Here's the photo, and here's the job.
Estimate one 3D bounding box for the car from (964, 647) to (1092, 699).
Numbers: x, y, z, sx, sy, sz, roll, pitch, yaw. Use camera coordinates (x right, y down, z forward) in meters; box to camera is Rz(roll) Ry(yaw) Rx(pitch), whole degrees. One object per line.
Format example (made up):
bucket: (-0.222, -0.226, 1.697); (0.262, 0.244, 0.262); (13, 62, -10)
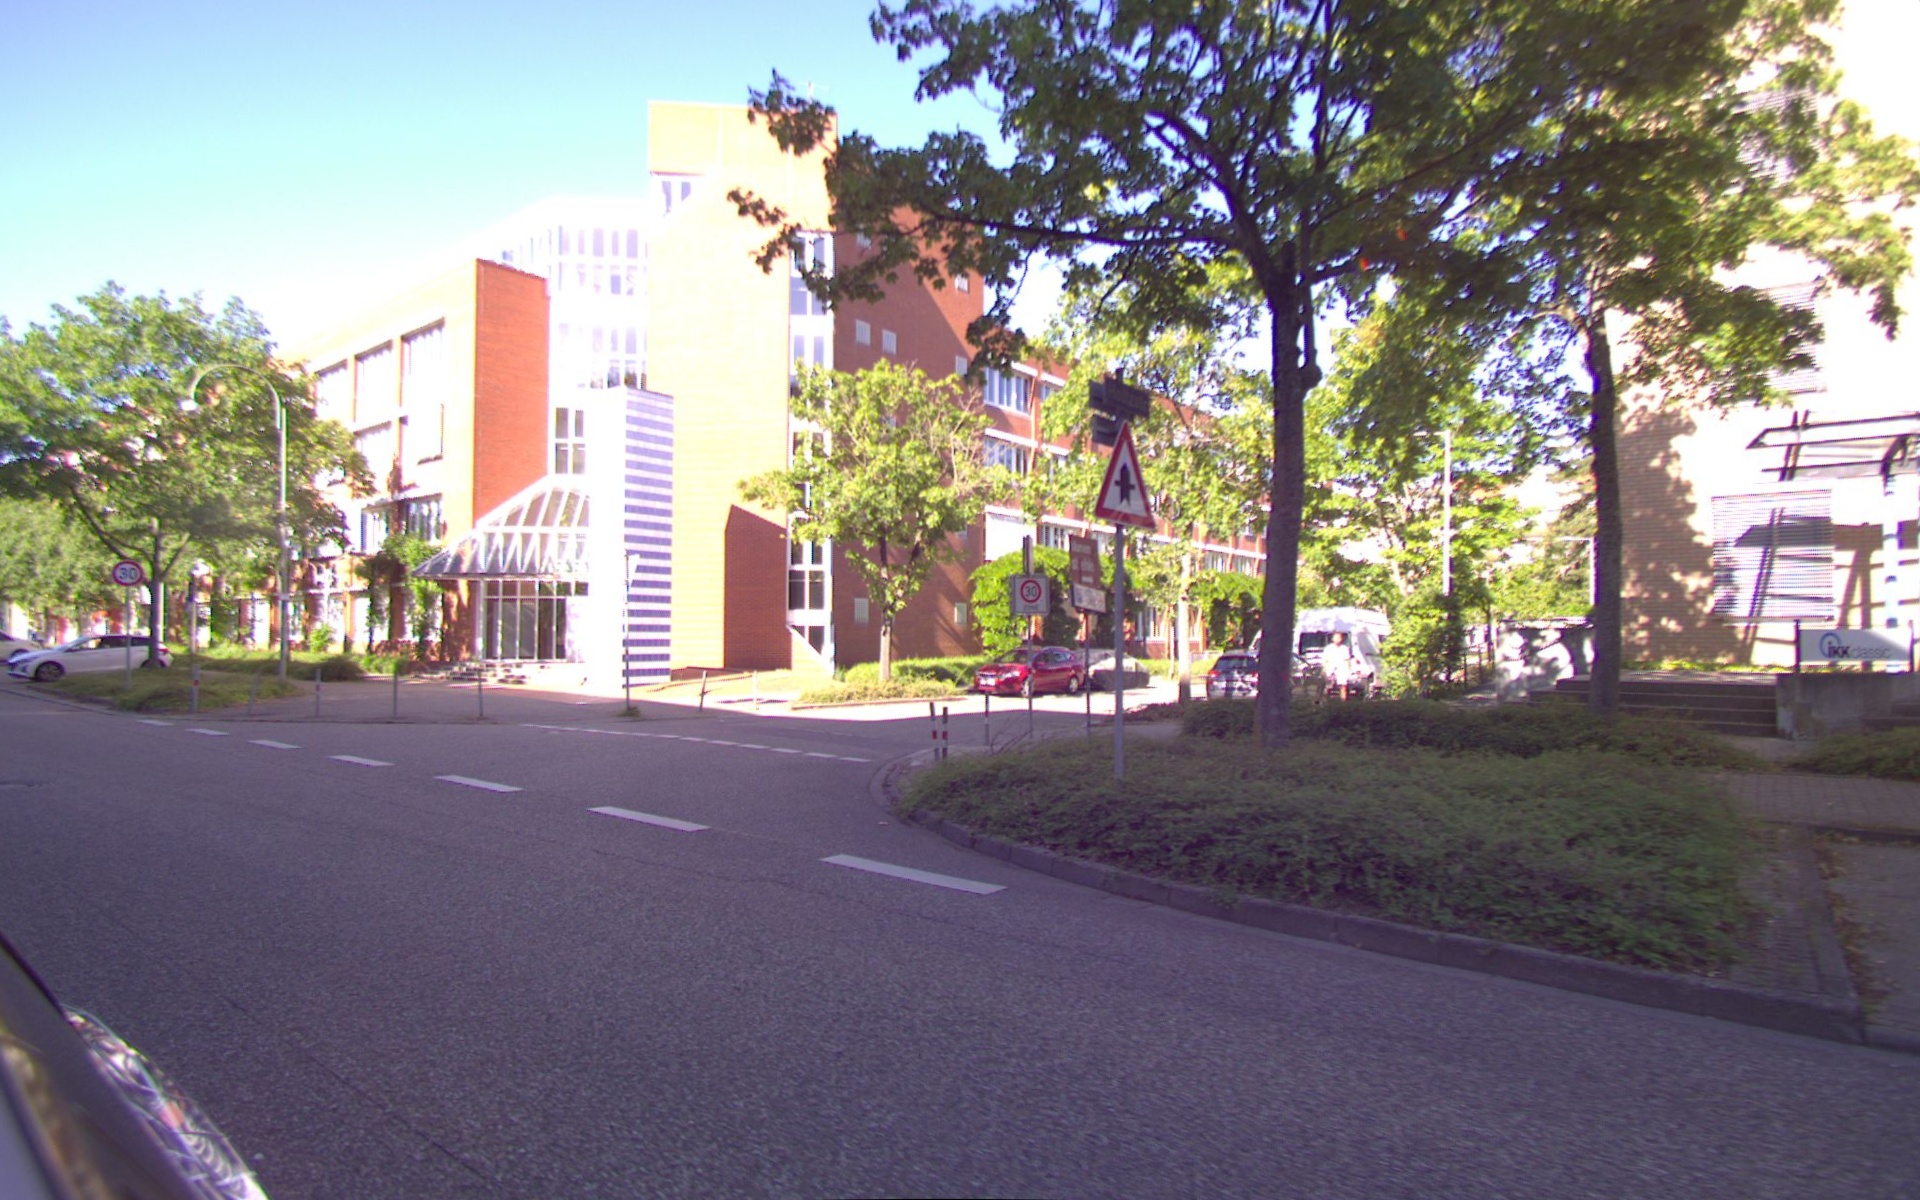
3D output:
car: (2.209, 2.241, 31.863); (1.846, 1.463, 4.382); (-2, -3, 39)

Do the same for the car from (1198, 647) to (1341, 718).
car: (7.632, 1.922, 24.646); (1.845, 1.519, 4.664); (-2, -3, 37)

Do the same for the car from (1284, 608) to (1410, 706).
car: (11.373, 1.597, 29.500); (1.920, 2.588, 5.409); (-2, -3, 37)

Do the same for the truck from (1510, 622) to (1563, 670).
truck: (31.750, 2.549, 55.679); (1.997, 2.561, 3.950); (-2, -4, 37)

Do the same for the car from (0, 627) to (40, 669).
car: (-45.361, 2.186, 45.807); (1.998, 1.901, 5.251); (-2, -3, 39)

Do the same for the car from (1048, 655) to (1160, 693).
car: (5.201, 2.603, 36.173); (1.846, 1.196, 4.662); (-2, -3, 39)

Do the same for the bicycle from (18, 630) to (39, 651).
bicycle: (-50.172, 2.153, 54.487); (2.155, 1.107, 0.629); (-1, -2, 43)

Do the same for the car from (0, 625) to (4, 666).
car: (-53.054, 2.330, 52.603); (1.998, 2.186, 4.576); (-2, -4, 39)

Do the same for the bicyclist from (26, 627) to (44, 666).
bicyclist: (-49.922, 2.502, 54.620); (0.609, 2.029, 0.625); (-2, -1, 42)

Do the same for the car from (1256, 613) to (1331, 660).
car: (16.805, 1.868, 50.917); (2.083, 2.287, 4.662); (-2, -4, 39)

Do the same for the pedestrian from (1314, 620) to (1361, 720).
pedestrian: (7.431, 1.368, 19.922); (0.671, 1.932, 0.615); (-2, -4, 40)

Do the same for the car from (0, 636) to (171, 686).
car: (-27.600, 1.876, 31.971); (1.616, 1.430, 3.956); (-2, -2, 37)
